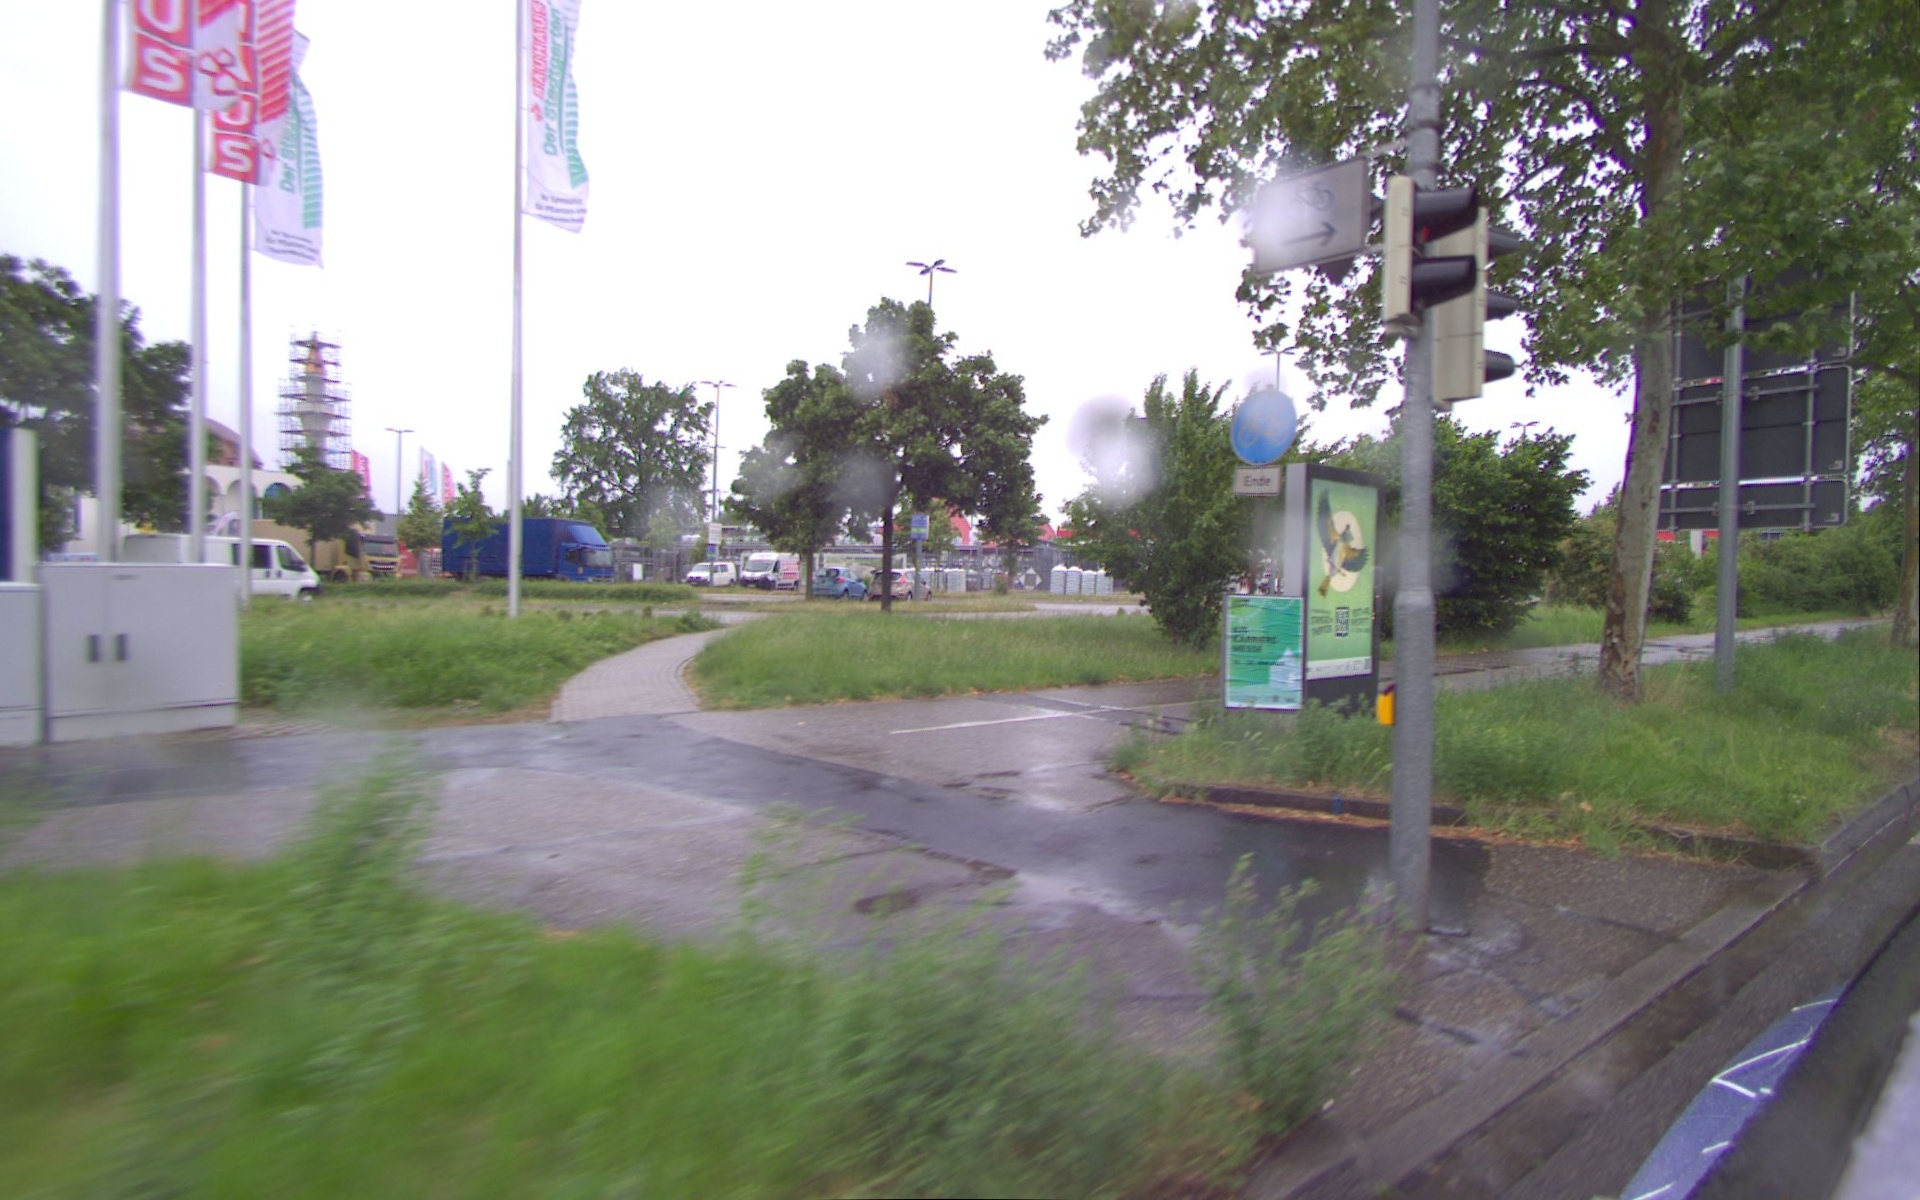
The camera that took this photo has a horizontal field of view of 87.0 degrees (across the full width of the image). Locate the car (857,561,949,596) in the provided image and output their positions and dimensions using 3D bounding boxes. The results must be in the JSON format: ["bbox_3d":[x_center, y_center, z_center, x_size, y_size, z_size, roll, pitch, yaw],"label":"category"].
[{"bbox_3d":[-2.210,-0.885,40.266,1.851,1.308,4.011,2,2,28],"label":"car"}]

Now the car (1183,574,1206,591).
[{"bbox_3d":[24.402,-1.857,105.200,1.976,1.698,4.251,1,2,17],"label":"car"}]

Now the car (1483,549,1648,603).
[{"bbox_3d":[28.676,-1.167,48.123,6.403,2.392,2.355,2,2,43],"label":"car"}]

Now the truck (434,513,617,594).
[{"bbox_3d":[-19.897,-2.105,46.319,7.905,3.513,2.540,1,0,17],"label":"truck"}]

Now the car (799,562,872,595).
[{"bbox_3d":[-5.097,-0.916,41.968,1.839,1.308,4.038,1,2,11],"label":"car"}]

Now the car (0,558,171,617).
[{"bbox_3d":[-26.232,-0.413,30.182,1.968,1.615,3.988,1,2,11],"label":"car"}]

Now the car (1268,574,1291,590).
[{"bbox_3d":[32.945,-1.869,104.170,1.908,1.571,4.242,1,2,22],"label":"car"}]

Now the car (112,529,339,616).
[{"bbox_3d":[-20.584,-0.792,28.710,2.158,2.231,5.086,1,2,12],"label":"car"}]

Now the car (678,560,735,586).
[{"bbox_3d":[-18.935,-2.038,75.786,2.028,1.918,4.770,1,2,17],"label":"car"}]

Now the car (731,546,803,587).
[{"bbox_3d":[-11.737,-2.045,61.879,2.296,2.390,5.495,0,2,13],"label":"car"}]

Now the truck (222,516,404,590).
[{"bbox_3d":[-32.698,-2.281,51.129,9.276,3.514,2.537,0,0,19],"label":"truck"}]
